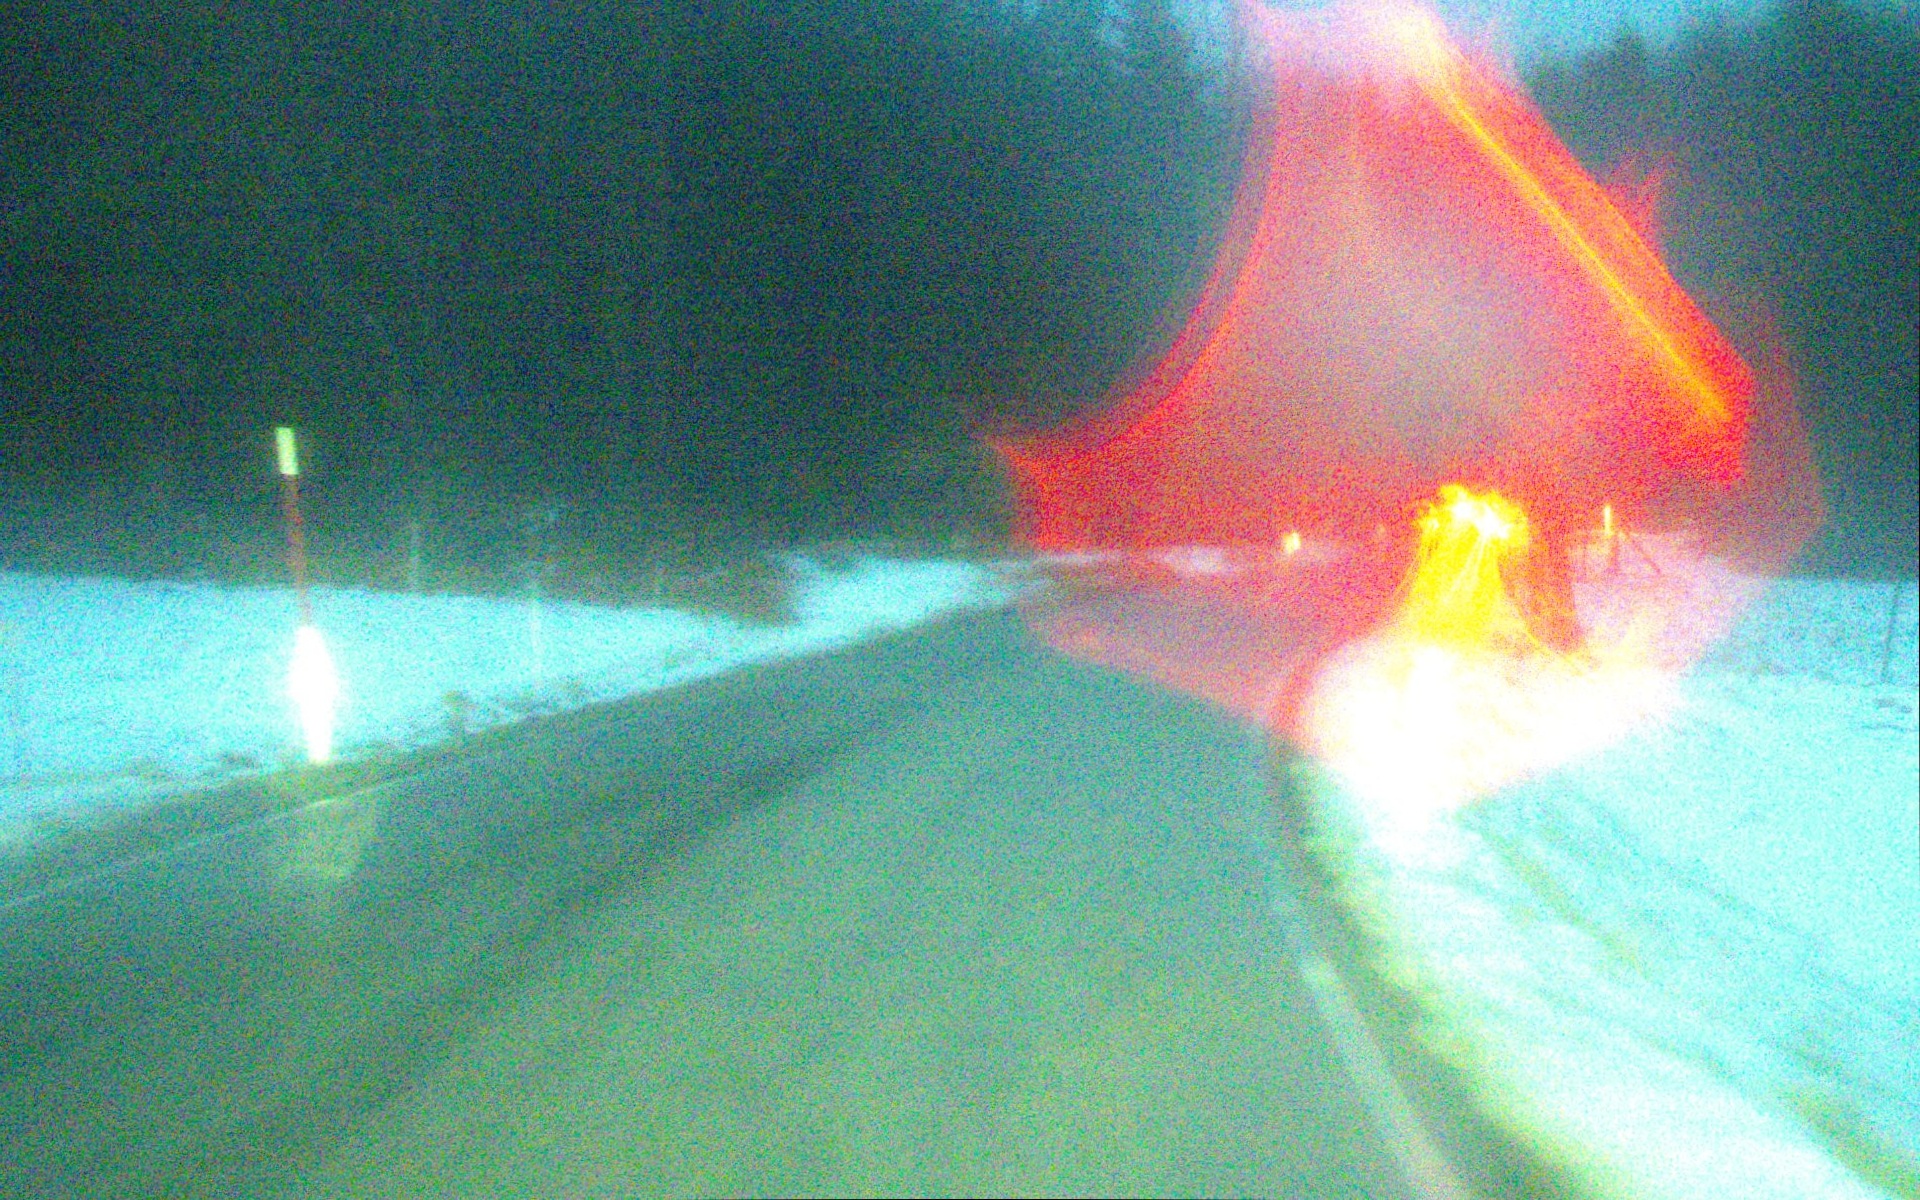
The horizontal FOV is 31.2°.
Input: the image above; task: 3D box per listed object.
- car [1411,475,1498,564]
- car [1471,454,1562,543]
[{"bbox_3d":[12.293,-2.018,85.386,1.994,2.044,3.999,3,3,9],"label":"car"},{"bbox_3d":[17.018,-3.106,104.950,2.254,2.636,5.003,0,2,15],"label":"car"}]
